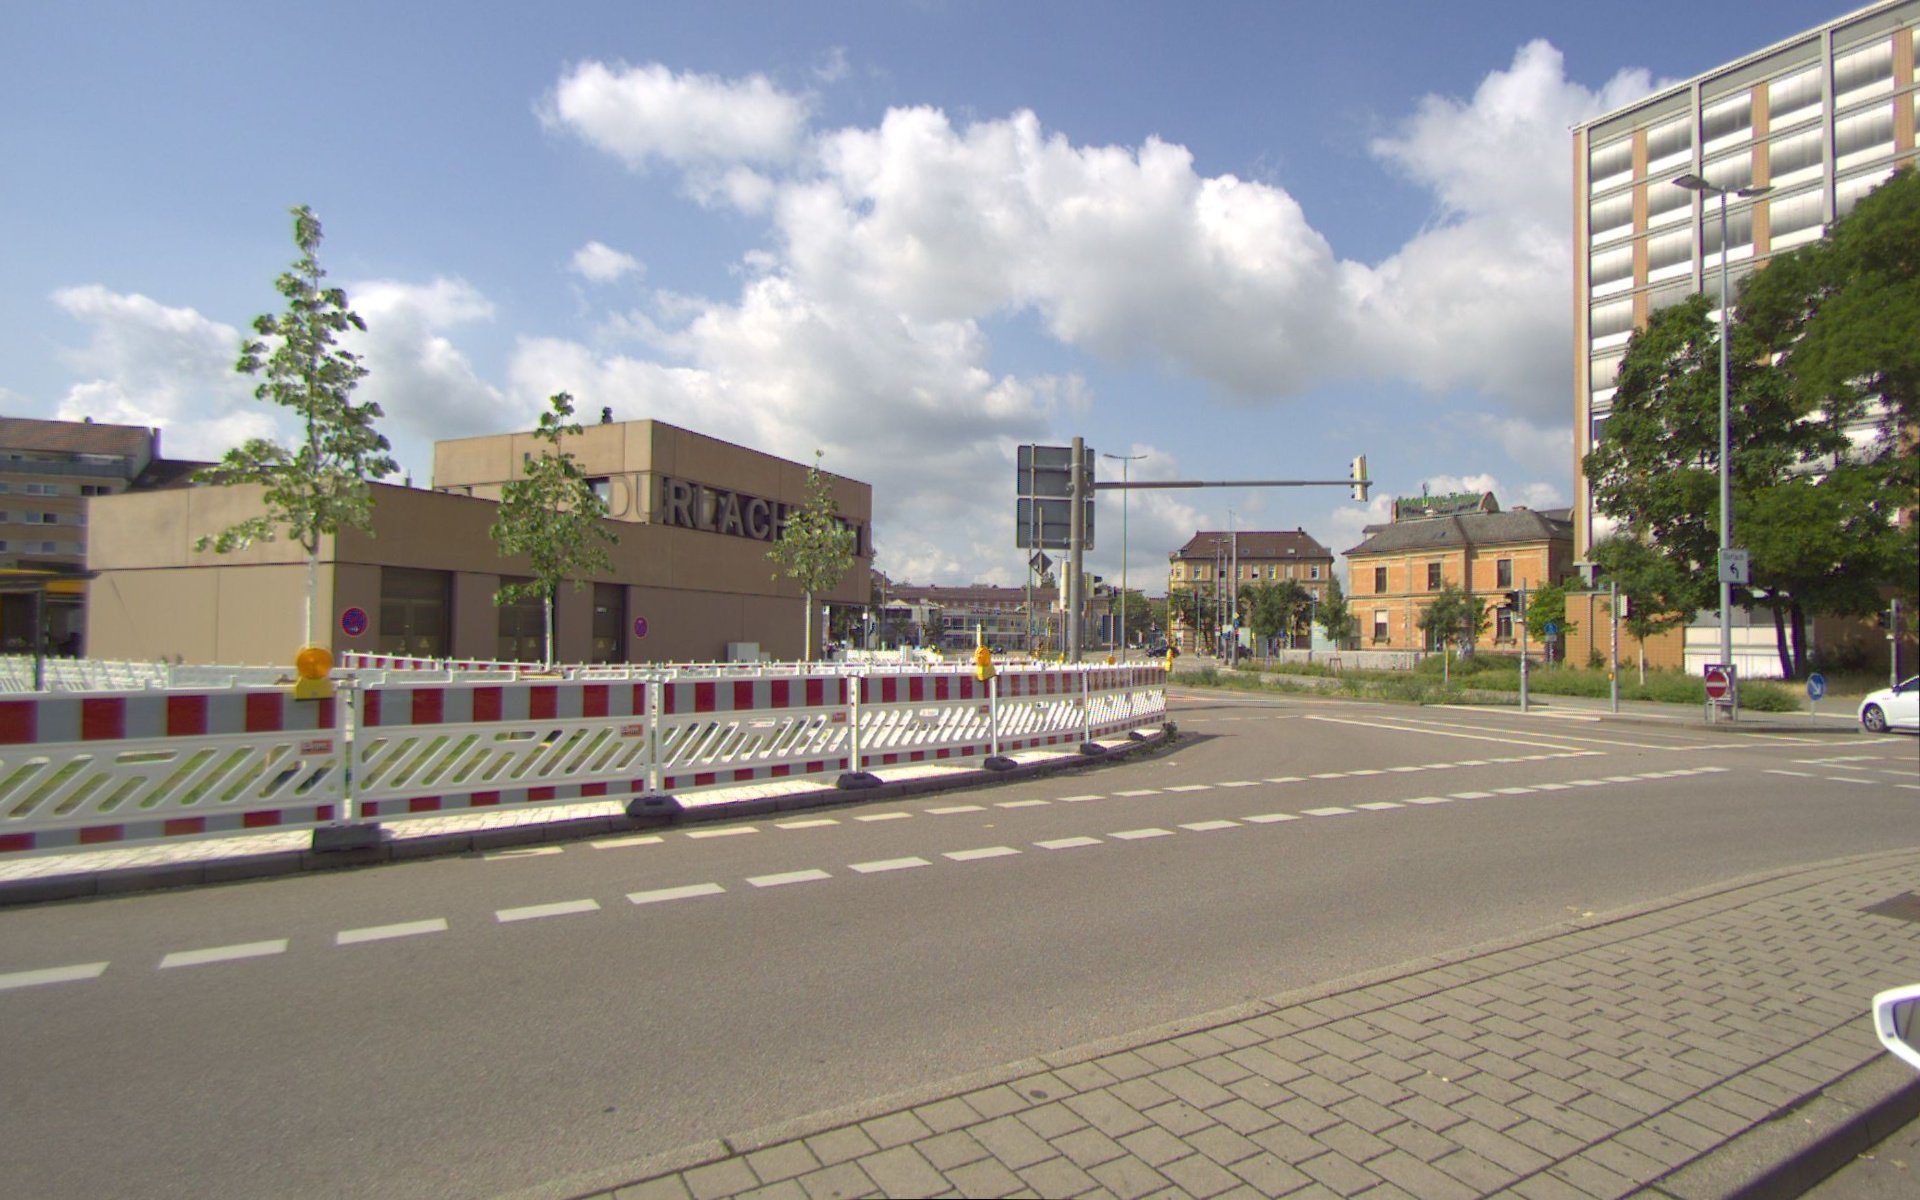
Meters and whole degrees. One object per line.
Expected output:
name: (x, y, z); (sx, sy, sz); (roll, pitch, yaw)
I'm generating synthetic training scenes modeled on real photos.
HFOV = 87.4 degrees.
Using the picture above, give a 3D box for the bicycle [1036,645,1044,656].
bicycle: (7.524, 4.727, 94.102); (0.606, 1.015, 2.020); (1, -3, 9)

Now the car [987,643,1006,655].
car: (4.976, 6.688, 136.395); (1.959, 1.550, 4.003); (0, -2, 11)

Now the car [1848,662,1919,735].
car: (20.851, 2.065, 20.685); (1.816, 1.491, 4.339); (0, -2, 10)

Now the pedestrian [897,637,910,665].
pedestrian: (-3.471, 3.105, 61.646); (0.724, 1.703, 0.640); (1, -2, -8)

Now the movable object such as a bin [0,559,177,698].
movable object such as a bin: (-25.704, 0.694, 24.800); (2.965, 3.468, 9.679); (0, -2, 26)

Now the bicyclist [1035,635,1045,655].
bicyclist: (7.519, 4.205, 94.032); (0.797, 1.846, 1.160); (1, -2, 10)

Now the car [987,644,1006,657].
car: (4.945, 6.878, 136.634); (1.814, 1.742, 4.003); (0, -2, 14)
